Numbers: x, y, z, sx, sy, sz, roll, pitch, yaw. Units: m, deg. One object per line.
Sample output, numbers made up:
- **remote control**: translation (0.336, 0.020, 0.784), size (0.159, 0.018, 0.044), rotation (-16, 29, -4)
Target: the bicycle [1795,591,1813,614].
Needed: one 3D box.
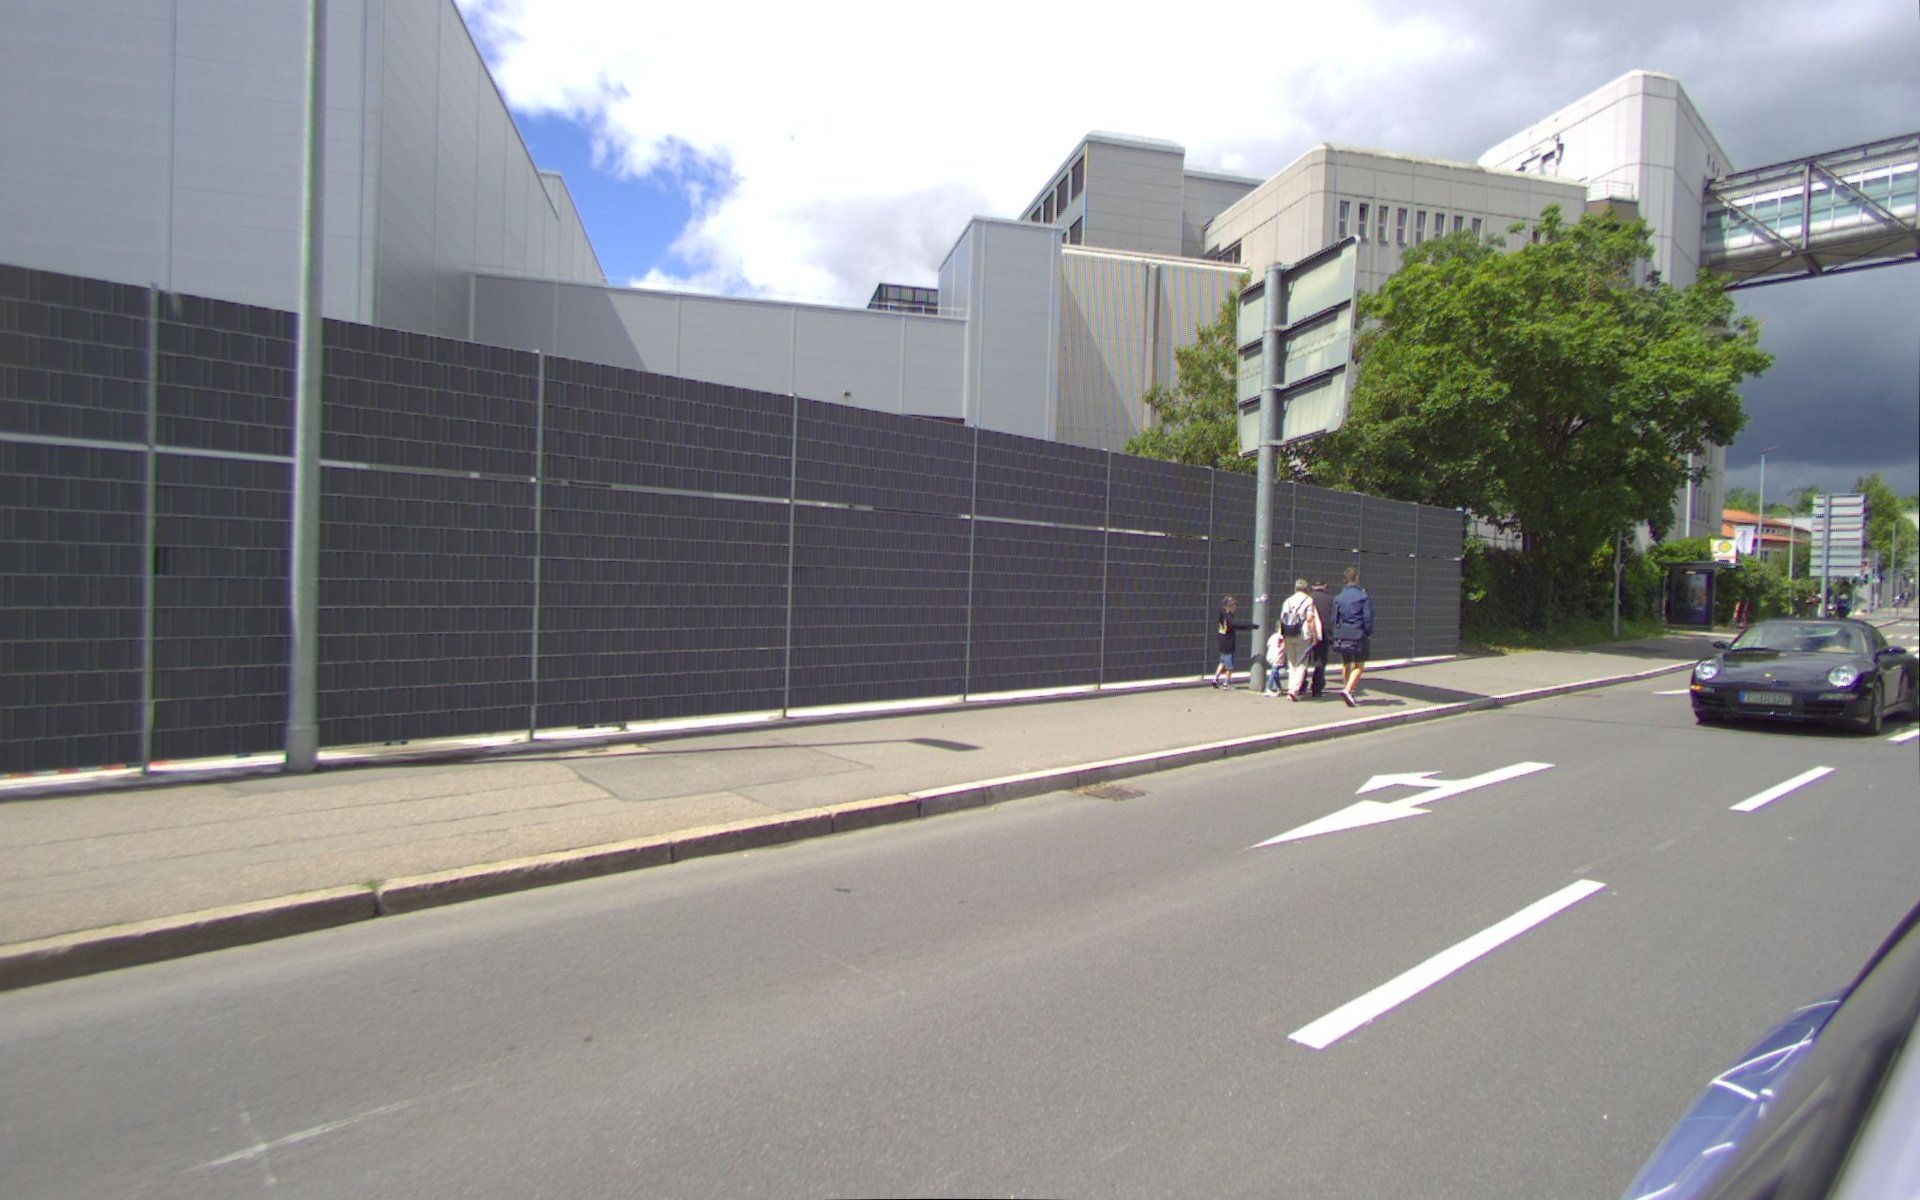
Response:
- **bicycle**: translation (45.485, 0.108, 54.548), size (2.427, 1.195, 0.443), rotation (-1, 1, -43)

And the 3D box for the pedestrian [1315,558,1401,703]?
- **pedestrian**: translation (5.004, 0.363, 12.719), size (0.795, 1.742, 0.720), rotation (0, 1, 44)

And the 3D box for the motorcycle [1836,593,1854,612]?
- **motorcycle**: translation (53.364, 0.159, 61.031), size (2.003, 1.080, 0.591), rotation (0, 3, -43)

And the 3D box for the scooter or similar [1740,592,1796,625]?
- **scooter or similar**: translation (31.214, 0.329, 39.089), size (2.083, 1.177, 0.544), rotation (1, 2, -15)

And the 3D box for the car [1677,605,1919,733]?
- **car**: translation (10.731, 0.755, 12.676), size (3.927, 1.342, 1.838), rotation (1, -1, -38)

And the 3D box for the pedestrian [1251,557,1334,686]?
- **pedestrian**: translation (4.329, 0.261, 13.174), size (0.795, 1.617, 0.720), rotation (0, 1, 44)

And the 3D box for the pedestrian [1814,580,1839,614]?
- **pedestrian**: translation (43.723, -0.164, 51.063), size (0.981, 1.665, 0.810), rotation (-1, 3, -44)

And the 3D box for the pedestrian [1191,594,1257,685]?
- **pedestrian**: translation (3.681, 0.529, 14.123), size (0.704, 1.222, 0.598), rotation (-1, 1, -39)

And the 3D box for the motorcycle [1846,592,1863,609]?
- **motorcycle**: translation (57.778, 0.038, 65.361), size (2.003, 1.080, 0.591), rotation (0, 3, -43)

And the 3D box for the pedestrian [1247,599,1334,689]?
- **pedestrian**: translation (4.540, 0.578, 13.900), size (0.954, 1.163, 0.759), rotation (-1, 1, -39)

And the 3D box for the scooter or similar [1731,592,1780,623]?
- **scooter or similar**: translation (31.410, 0.289, 39.941), size (1.754, 1.177, 0.544), rotation (1, 2, -15)

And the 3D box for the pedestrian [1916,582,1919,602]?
- **pedestrian**: translation (88.768, -0.729, 93.390), size (0.998, 1.788, 0.728), rotation (-1, 1, -43)
